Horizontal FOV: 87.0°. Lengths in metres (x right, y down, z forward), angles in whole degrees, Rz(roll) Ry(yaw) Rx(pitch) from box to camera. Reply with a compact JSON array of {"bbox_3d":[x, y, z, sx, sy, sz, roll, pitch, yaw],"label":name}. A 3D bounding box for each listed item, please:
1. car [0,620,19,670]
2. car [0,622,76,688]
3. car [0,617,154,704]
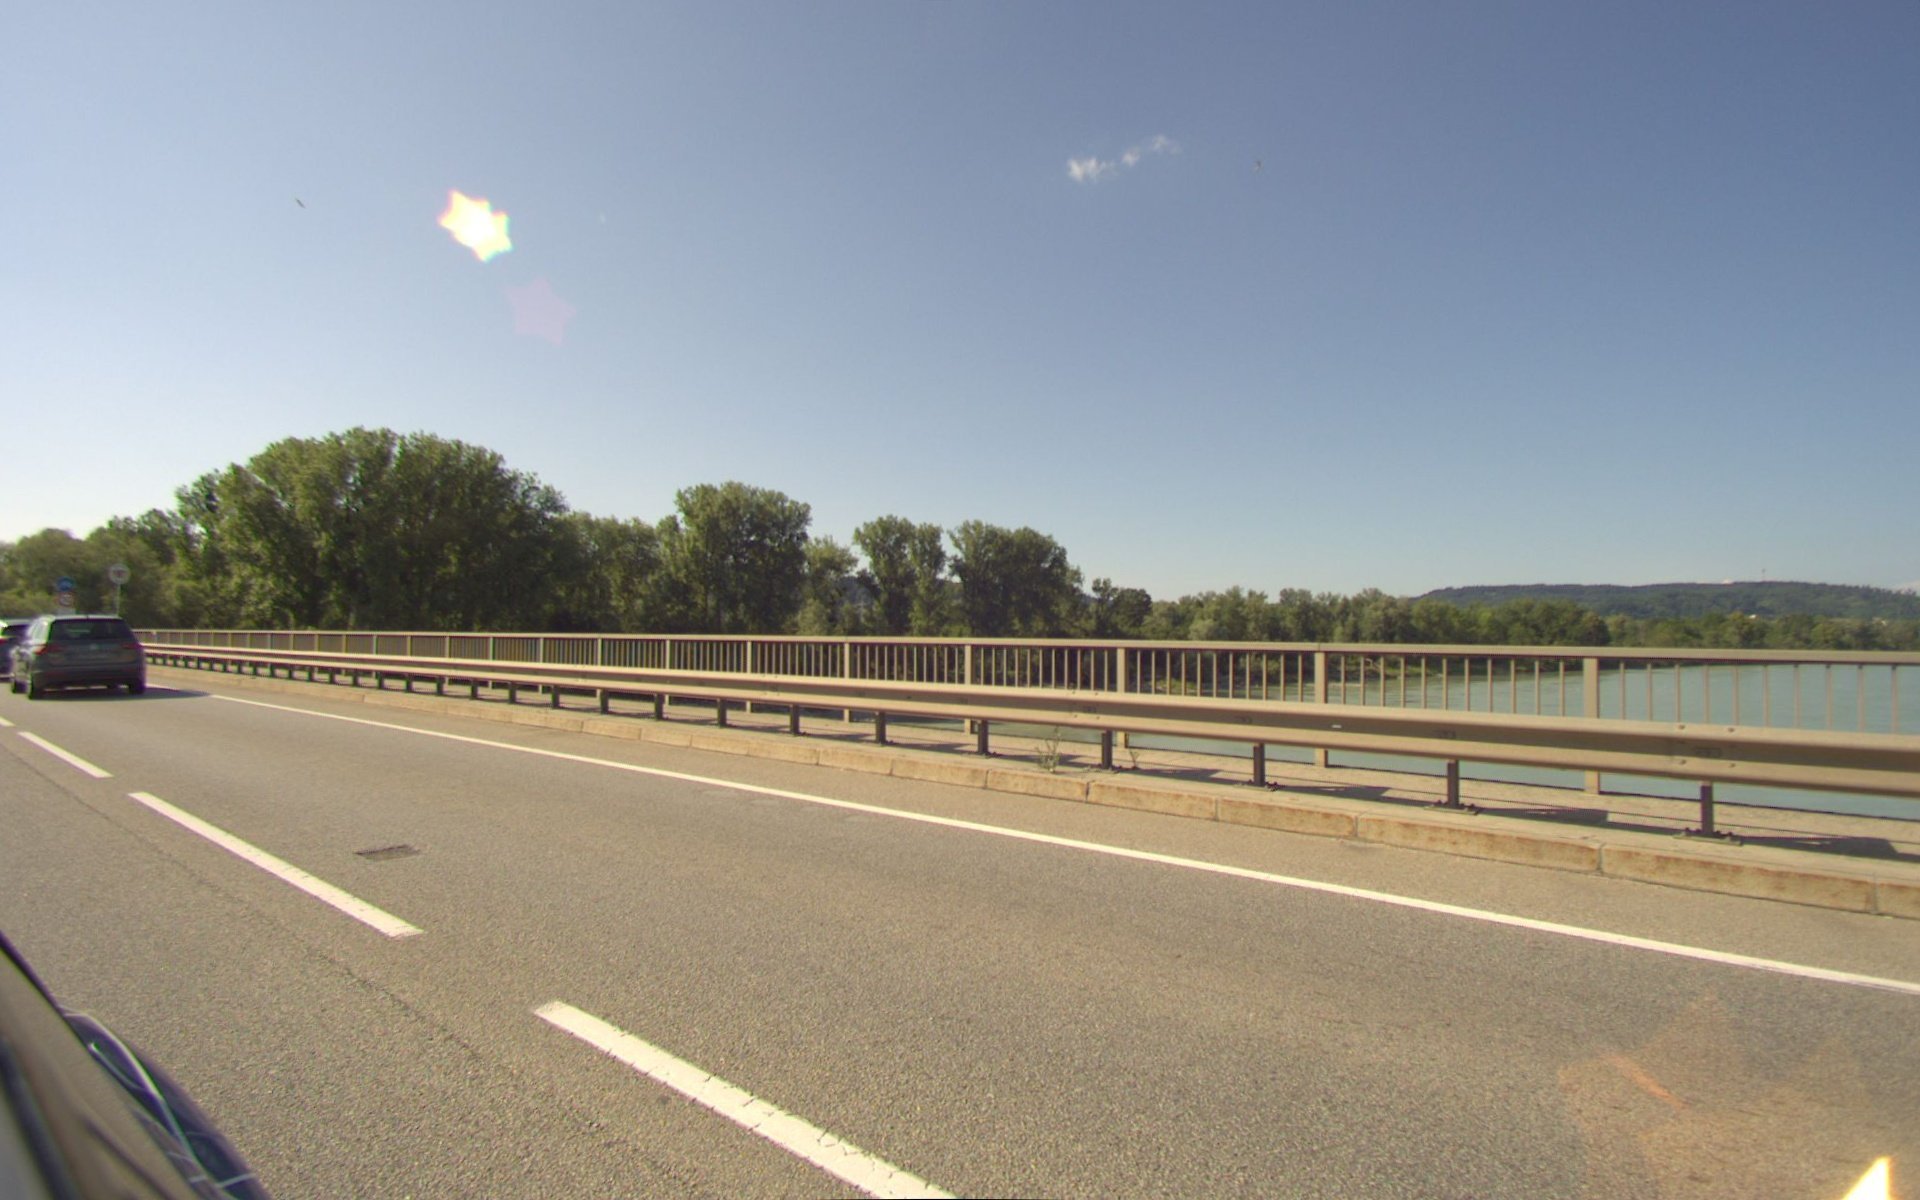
[{"bbox_3d":[-34.753,1.594,35.555,4.720,1.665,2.032,-1,1,42],"label":"car"},{"bbox_3d":[-24.709,1.403,26.588,4.200,1.589,1.787,-2,-1,42],"label":"car"},{"bbox_3d":[-18.263,1.180,20.858,4.272,1.596,1.855,-2,-2,41],"label":"car"}]
